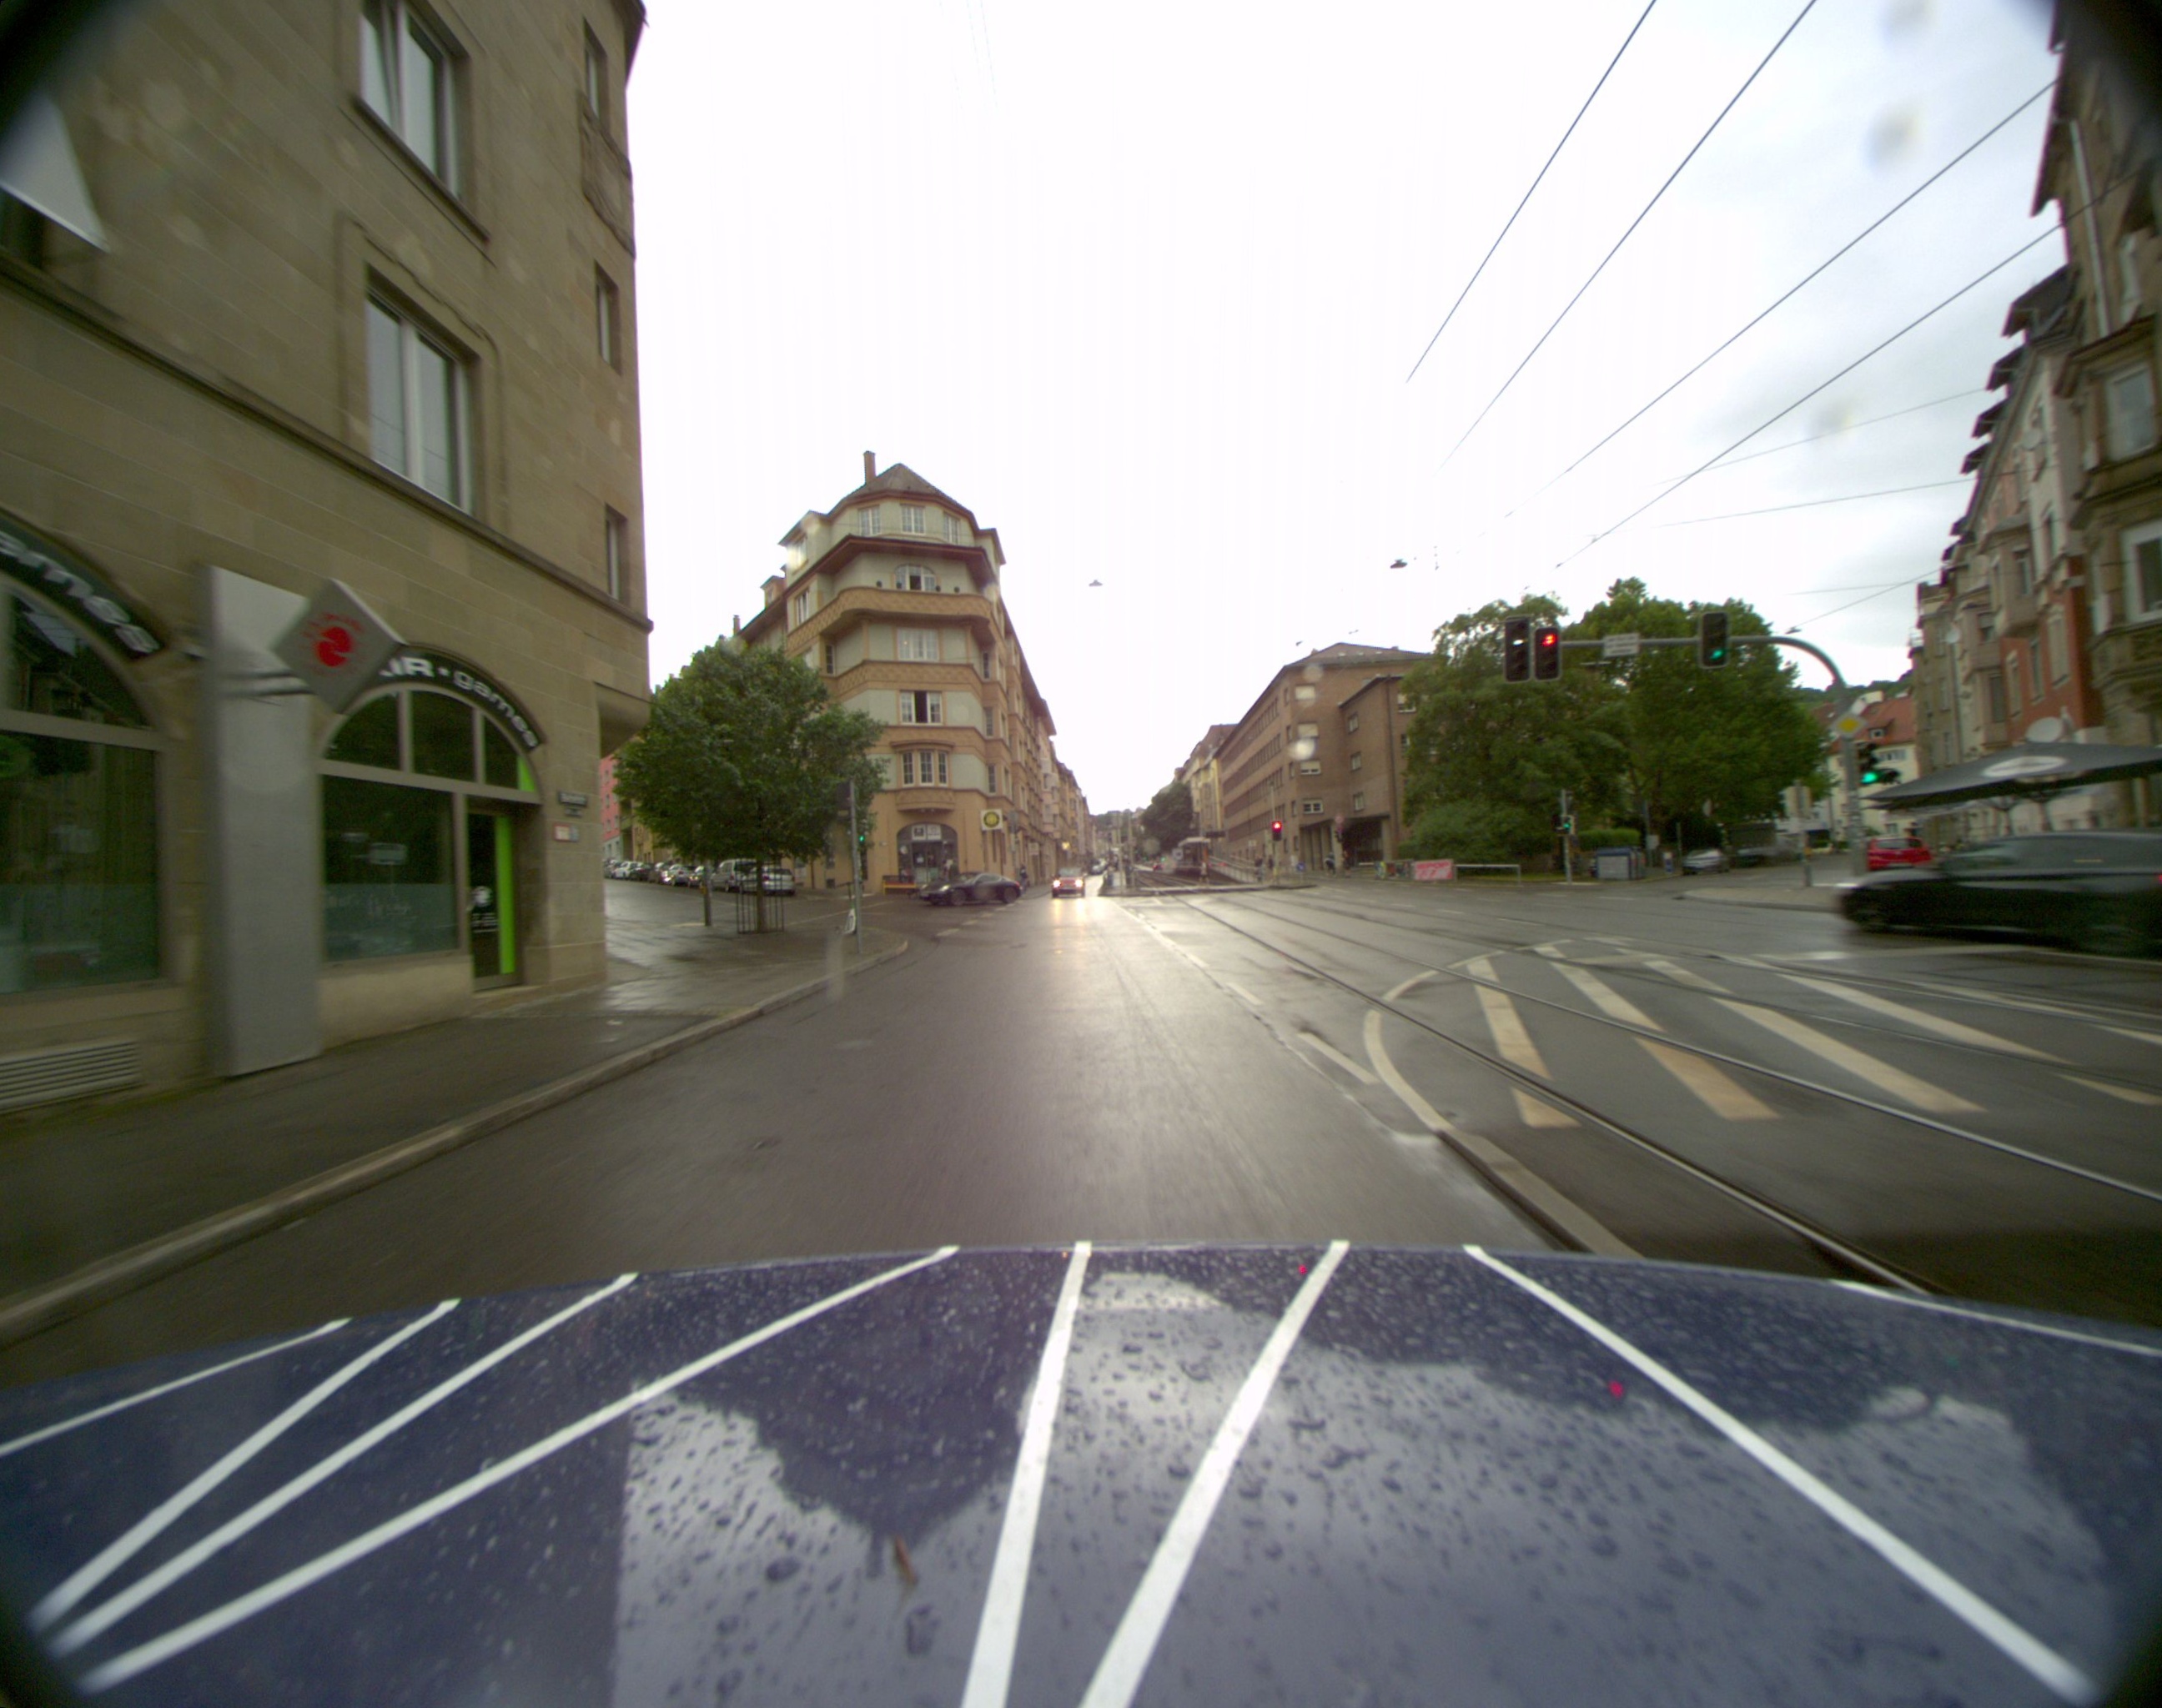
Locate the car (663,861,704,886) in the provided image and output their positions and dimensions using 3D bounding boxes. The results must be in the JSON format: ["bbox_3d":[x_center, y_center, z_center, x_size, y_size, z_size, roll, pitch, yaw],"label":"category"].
[{"bbox_3d":[-25.354,1.240,48.433,1.449,1.417,3.290,-5,3,-42],"label":"car"}]

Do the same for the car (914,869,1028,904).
[{"bbox_3d":[-4.281,1.257,29.999,4.205,1.279,1.701,2,-2,-42],"label":"car"}]

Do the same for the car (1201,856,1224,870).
[{"bbox_3d":[15.563,1.046,90.315,1.998,1.618,5.253,-1,1,3],"label":"car"}]

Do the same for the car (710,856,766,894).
[{"bbox_3d":[-18.433,1.117,40.788,1.608,1.834,3.545,-5,3,-42],"label":"car"}]

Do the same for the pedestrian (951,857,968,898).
[{"bbox_3d":[-5.377,1.023,33.593,0.595,1.778,0.891,-1,0,-1],"label":"pedestrian"}]

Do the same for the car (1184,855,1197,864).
[{"bbox_3d":[17.562,0.868,122.017,1.648,1.457,3.112,-3,-1,4],"label":"car"}]

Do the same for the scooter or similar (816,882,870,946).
[{"bbox_3d":[-4.926,1.216,15.828,0.639,1.203,1.552,-2,0,-2],"label":"scooter or similar"}]

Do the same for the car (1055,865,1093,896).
[{"bbox_3d":[-0.331,1.304,38.376,1.689,1.451,3.300,-1,0,3],"label":"car"}]

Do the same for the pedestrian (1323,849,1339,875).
[{"bbox_3d":[16.112,0.491,49.054,0.767,1.640,0.649,-2,0,2],"label":"pedestrian"}]

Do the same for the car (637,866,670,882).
[{"bbox_3d":[-31.521,1.477,56.010,1.450,1.118,3.069,1,-2,-42],"label":"car"}]

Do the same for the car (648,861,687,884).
[{"bbox_3d":[-28.205,1.243,51.795,1.449,1.417,3.290,-5,3,-42],"label":"car"}]

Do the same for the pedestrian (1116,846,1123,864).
[{"bbox_3d":[3.929,0.118,77.851,0.645,1.764,0.711,-3,0,3],"label":"pedestrian"}]

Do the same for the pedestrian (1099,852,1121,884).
[{"bbox_3d":[1.845,0.901,48.293,0.949,2.002,0.927,-3,0,-41],"label":"pedestrian"}]

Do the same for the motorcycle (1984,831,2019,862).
[{"bbox_3d":[38.026,-0.312,31.409,1.863,1.248,0.747,-1,0,-45],"label":"motorcycle"}]

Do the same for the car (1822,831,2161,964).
[{"bbox_3d":[12.303,0.441,9.538,1.952,1.388,4.275,-1,0,3],"label":"car"}]

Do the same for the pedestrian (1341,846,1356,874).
[{"bbox_3d":[16.555,0.372,47.025,0.605,1.665,0.688,-2,0,0],"label":"pedestrian"}]

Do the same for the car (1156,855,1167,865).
[{"bbox_3d":[16.394,1.147,155.061,1.998,2.002,4.001,-1,0,3],"label":"car"}]

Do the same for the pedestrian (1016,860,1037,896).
[{"bbox_3d":[-2.811,1.206,39.028,0.967,1.829,0.902,1,0,3],"label":"pedestrian"}]

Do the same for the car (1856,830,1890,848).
[{"bbox_3d":[62.762,-1.181,60.235,1.737,1.394,4.008,-2,0,44],"label":"car"}]

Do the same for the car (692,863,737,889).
[{"bbox_3d":[-21.180,1.276,43.844,1.450,1.417,3.290,-1,0,-42],"label":"car"}]

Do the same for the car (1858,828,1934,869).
[{"bbox_3d":[30.177,-0.197,28.231,1.737,1.394,4.008,-2,0,44],"label":"car"}]

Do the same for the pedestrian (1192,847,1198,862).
[{"bbox_3d":[12.881,0.099,85.601,0.588,1.699,0.491,-2,0,2],"label":"pedestrian"}]

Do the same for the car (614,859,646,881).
[{"bbox_3d":[-35.452,1.270,59.719,1.449,1.565,3.275,-5,3,-42],"label":"car"}]

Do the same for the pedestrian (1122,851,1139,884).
[{"bbox_3d":[3.132,0.837,48.147,0.899,2.002,0.947,-3,0,3],"label":"pedestrian"}]

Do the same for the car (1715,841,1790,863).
[{"bbox_3d":[49.785,-0.120,56.371,1.746,1.469,3.989,-2,0,-44],"label":"car"}]

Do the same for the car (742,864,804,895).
[{"bbox_3d":[-15.116,1.233,37.184,1.695,1.451,3.525,1,-2,-42],"label":"car"}]

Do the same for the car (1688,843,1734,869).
[{"bbox_3d":[37.589,0.099,45.315,1.737,1.394,4.008,-2,0,44],"label":"car"}]

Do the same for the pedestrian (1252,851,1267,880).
[{"bbox_3d":[10.930,0.690,46.488,0.666,1.688,0.688,-4,1,0],"label":"pedestrian"}]

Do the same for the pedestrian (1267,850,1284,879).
[{"bbox_3d":[11.390,0.599,44.520,0.745,1.638,0.640,-3,2,3],"label":"pedestrian"}]

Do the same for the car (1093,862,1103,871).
[{"bbox_3d":[3.076,2.215,135.838,1.633,1.443,4.002,-3,-1,4],"label":"car"}]

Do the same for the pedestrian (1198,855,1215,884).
[{"bbox_3d":[6.963,0.872,42.193,0.694,1.573,0.956,-2,0,-3],"label":"pedestrian"}]

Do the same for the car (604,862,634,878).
[{"bbox_3d":[-38.321,1.303,63.005,1.449,1.166,3.275,-5,3,-42],"label":"car"}]

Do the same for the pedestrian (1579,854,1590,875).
[{"bbox_3d":[27.103,0.571,40.915,0.417,1.078,0.283,-2,0,26],"label":"pedestrian"}]

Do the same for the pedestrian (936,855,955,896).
[{"bbox_3d":[-6.036,0.949,33.829,0.684,1.778,0.901,-1,0,-1],"label":"pedestrian"}]

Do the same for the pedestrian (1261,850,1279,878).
[{"bbox_3d":[11.723,0.616,47.149,0.745,1.686,0.883,-4,1,1],"label":"pedestrian"}]
